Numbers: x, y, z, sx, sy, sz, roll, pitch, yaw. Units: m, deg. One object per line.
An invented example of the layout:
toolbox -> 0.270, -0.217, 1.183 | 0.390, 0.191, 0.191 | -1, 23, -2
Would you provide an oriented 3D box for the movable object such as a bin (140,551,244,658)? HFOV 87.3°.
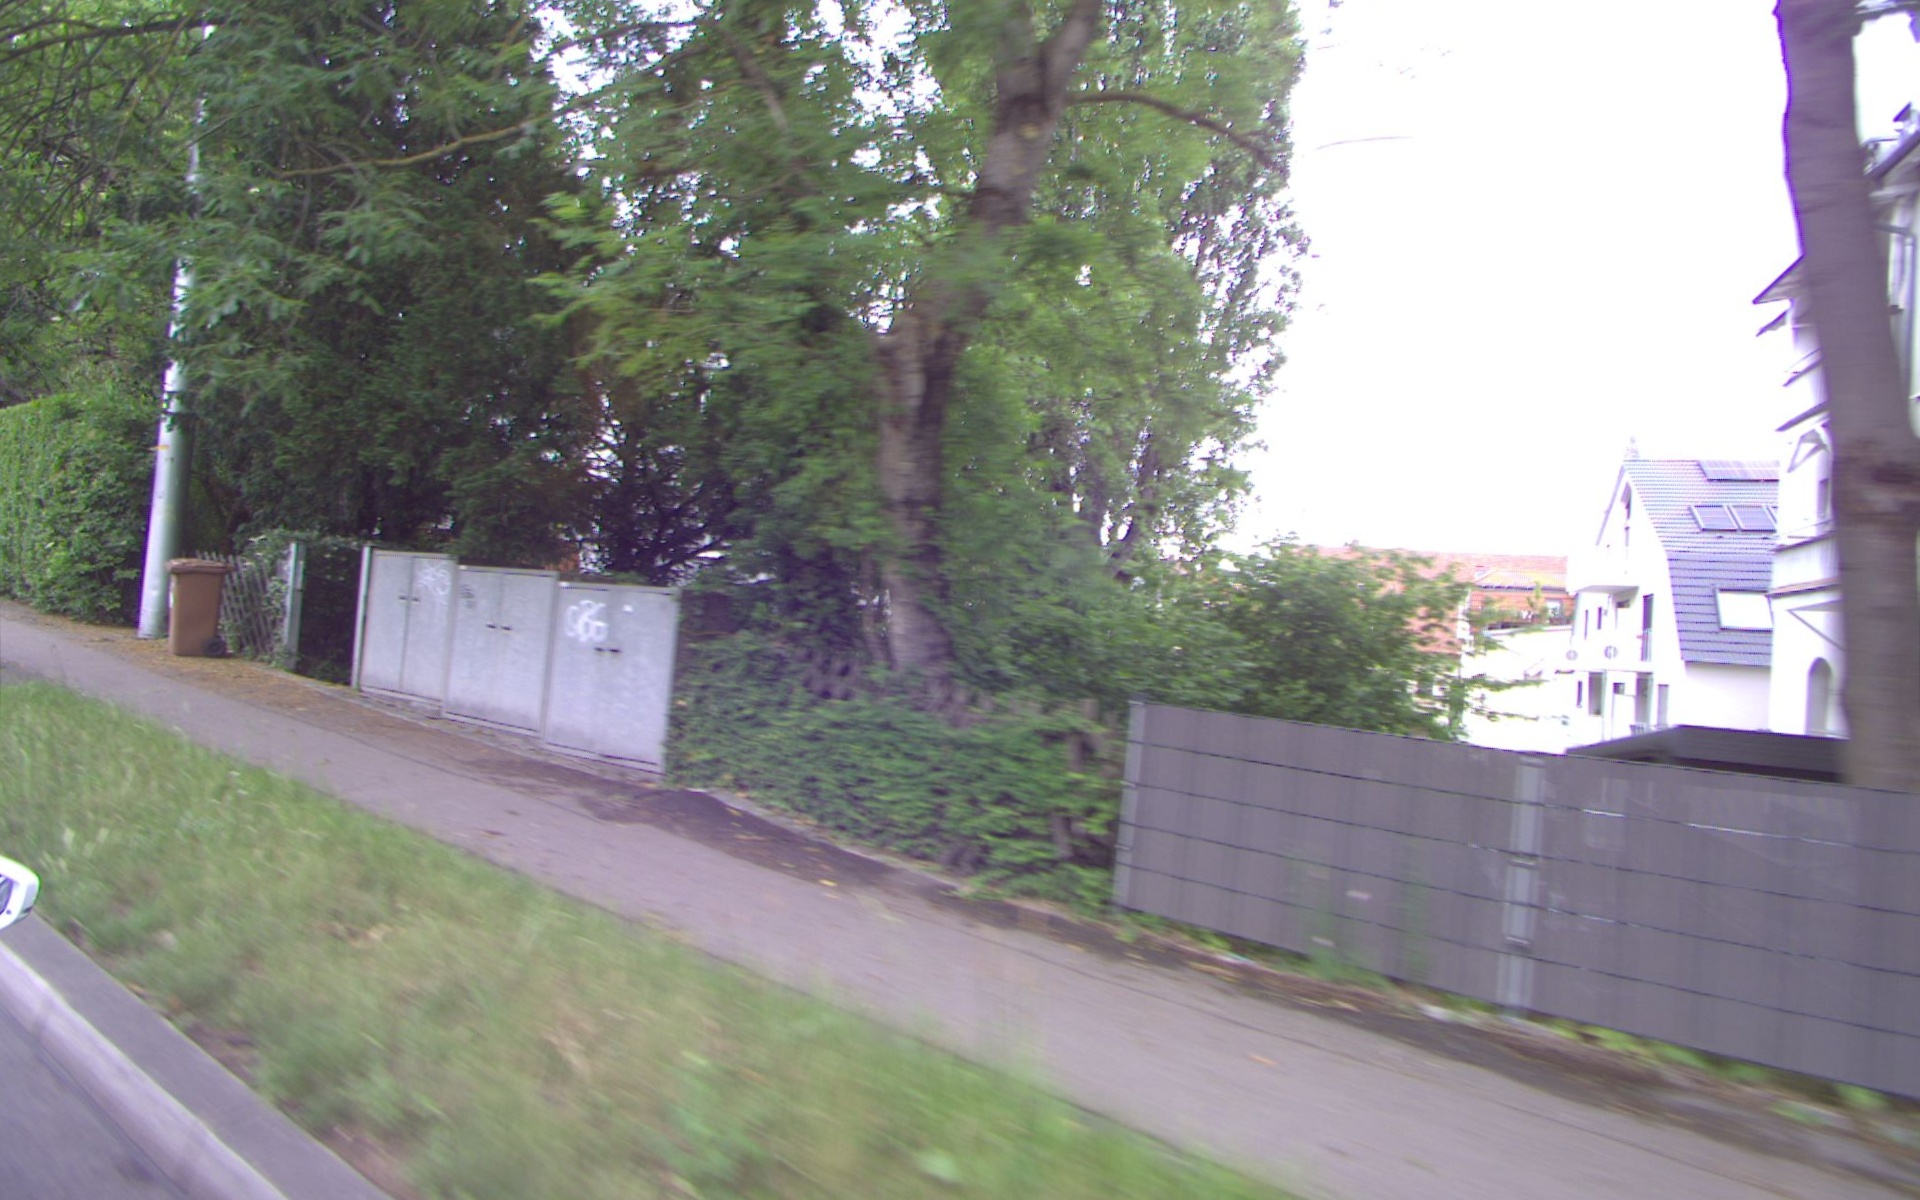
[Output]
movable object such as a bin -> -7.574, 0.049, 9.923 | 0.558, 0.958, 0.556 | 7, -1, 30
